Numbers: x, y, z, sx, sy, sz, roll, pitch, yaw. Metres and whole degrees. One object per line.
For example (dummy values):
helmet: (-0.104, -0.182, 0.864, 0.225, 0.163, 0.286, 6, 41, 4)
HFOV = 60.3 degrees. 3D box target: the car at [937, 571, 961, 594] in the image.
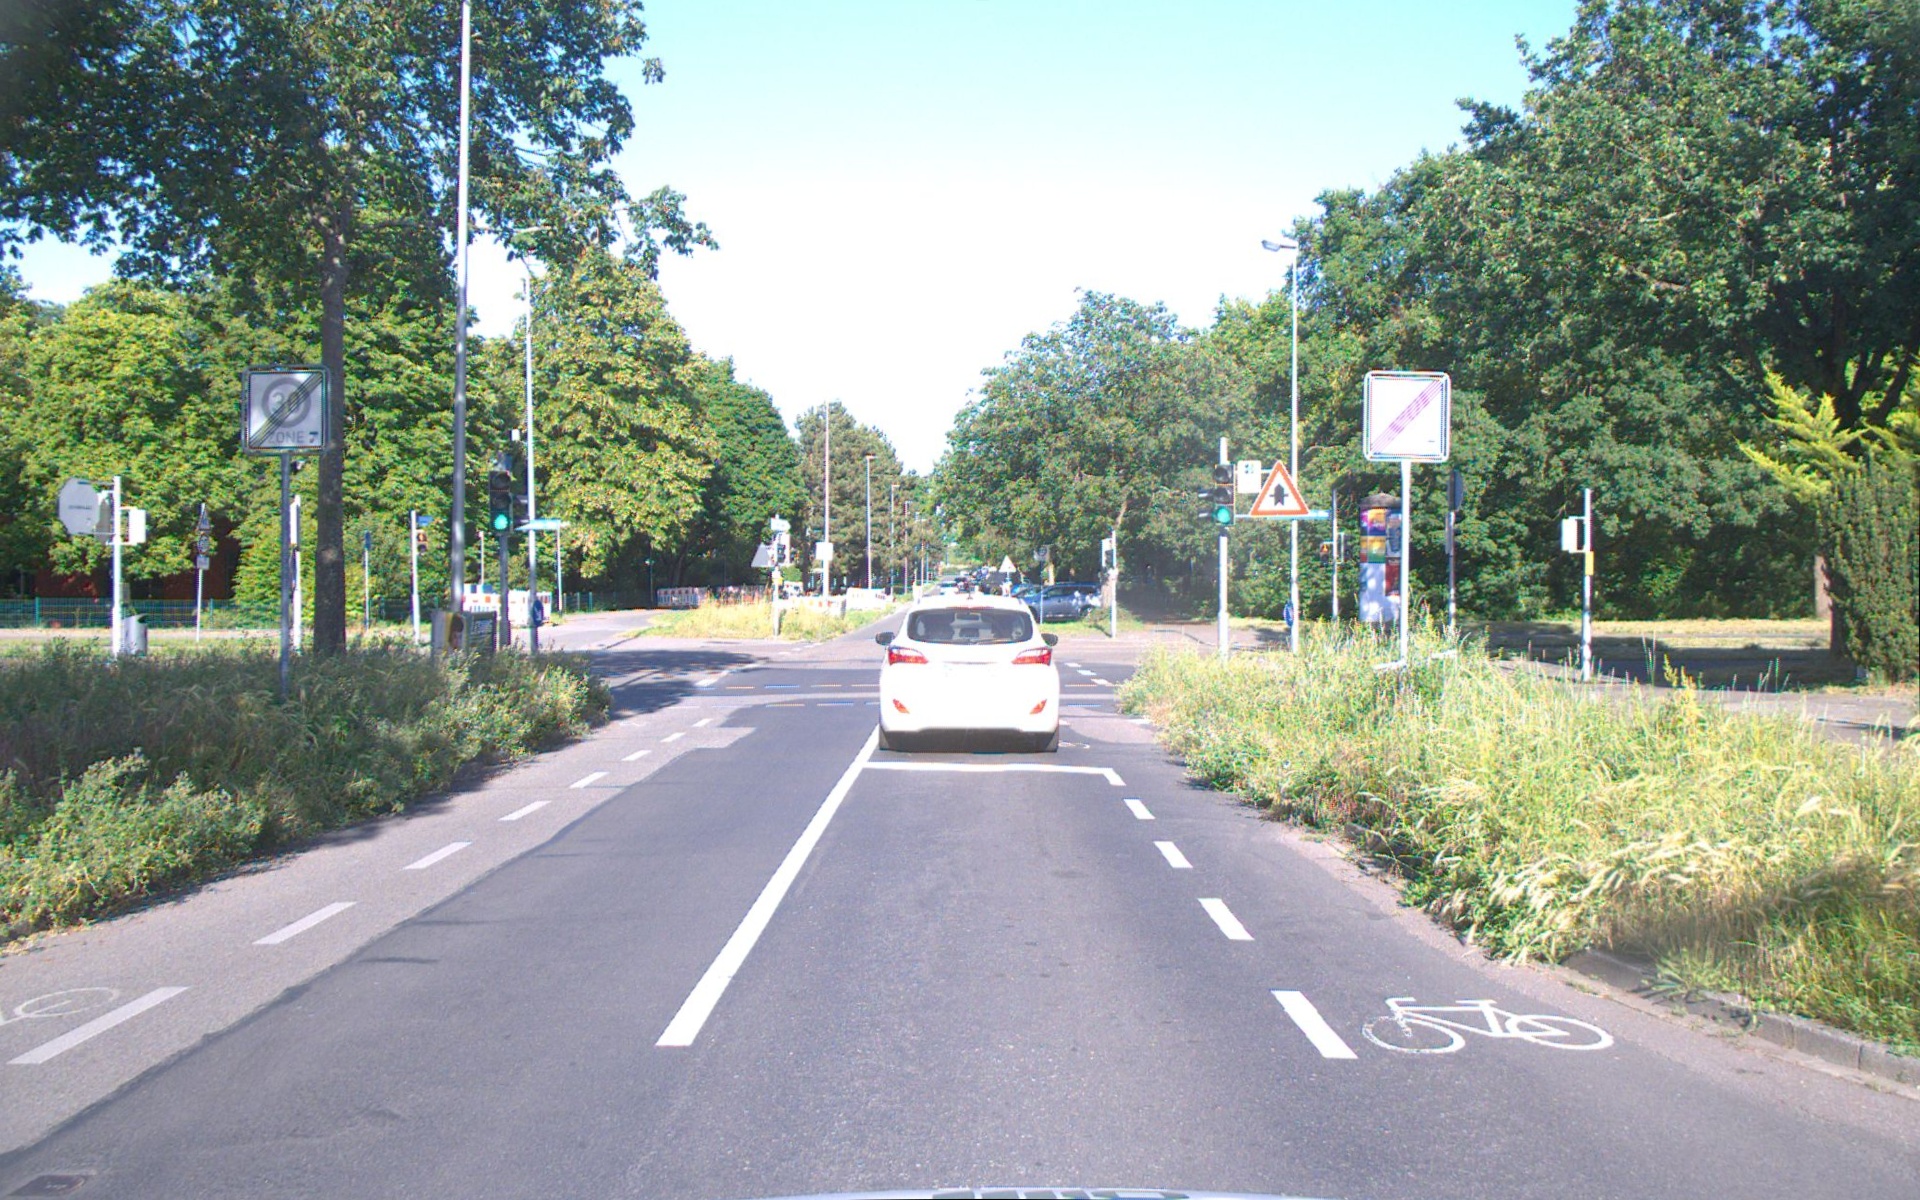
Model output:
car: (-0.936, -1.513, 141.246, 1.953, 1.847, 4.000, 2, 1, 0)

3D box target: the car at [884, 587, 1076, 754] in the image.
car: (0.131, 0.635, 17.147, 1.753, 1.488, 3.962, 0, 1, -2)

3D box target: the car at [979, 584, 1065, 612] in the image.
car: (3.969, -0.124, 107.109, 5.499, 1.713, 1.948, 1, 0, 0)

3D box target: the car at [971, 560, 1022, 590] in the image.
car: (2.693, -1.838, 123.724, 3.741, 2.135, 1.863, 1, 0, 0)

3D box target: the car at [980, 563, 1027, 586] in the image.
car: (3.982, -2.334, 151.043, 4.213, 1.941, 1.863, 1, 0, 0)

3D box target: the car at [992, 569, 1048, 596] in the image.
car: (4.092, -1.207, 113.689, 3.741, 1.713, 1.863, 1, 0, 0)

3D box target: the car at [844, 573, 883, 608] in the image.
car: (-5.565, -0.576, 95.735, 1.952, 1.847, 4.001, 1, 2, 0)

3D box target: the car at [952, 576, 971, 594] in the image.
car: (0.163, -1.658, 181.004, 1.952, 1.847, 4.000, 1, 0, 0)

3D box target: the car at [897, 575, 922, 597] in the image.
car: (-4.362, -1.230, 143.970, 1.952, 1.847, 4.000, 1, 0, 0)

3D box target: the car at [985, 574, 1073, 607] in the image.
car: (3.496, -0.502, 83.776, 4.405, 1.658, 1.856, 0, 1, 2)

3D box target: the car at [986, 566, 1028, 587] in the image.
car: (4.196, -2.132, 147.895, 3.741, 1.798, 1.863, 1, 0, 0)

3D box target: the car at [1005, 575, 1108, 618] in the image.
car: (4.163, -0.174, 71.669, 4.405, 1.814, 1.855, 0, 1, 2)
